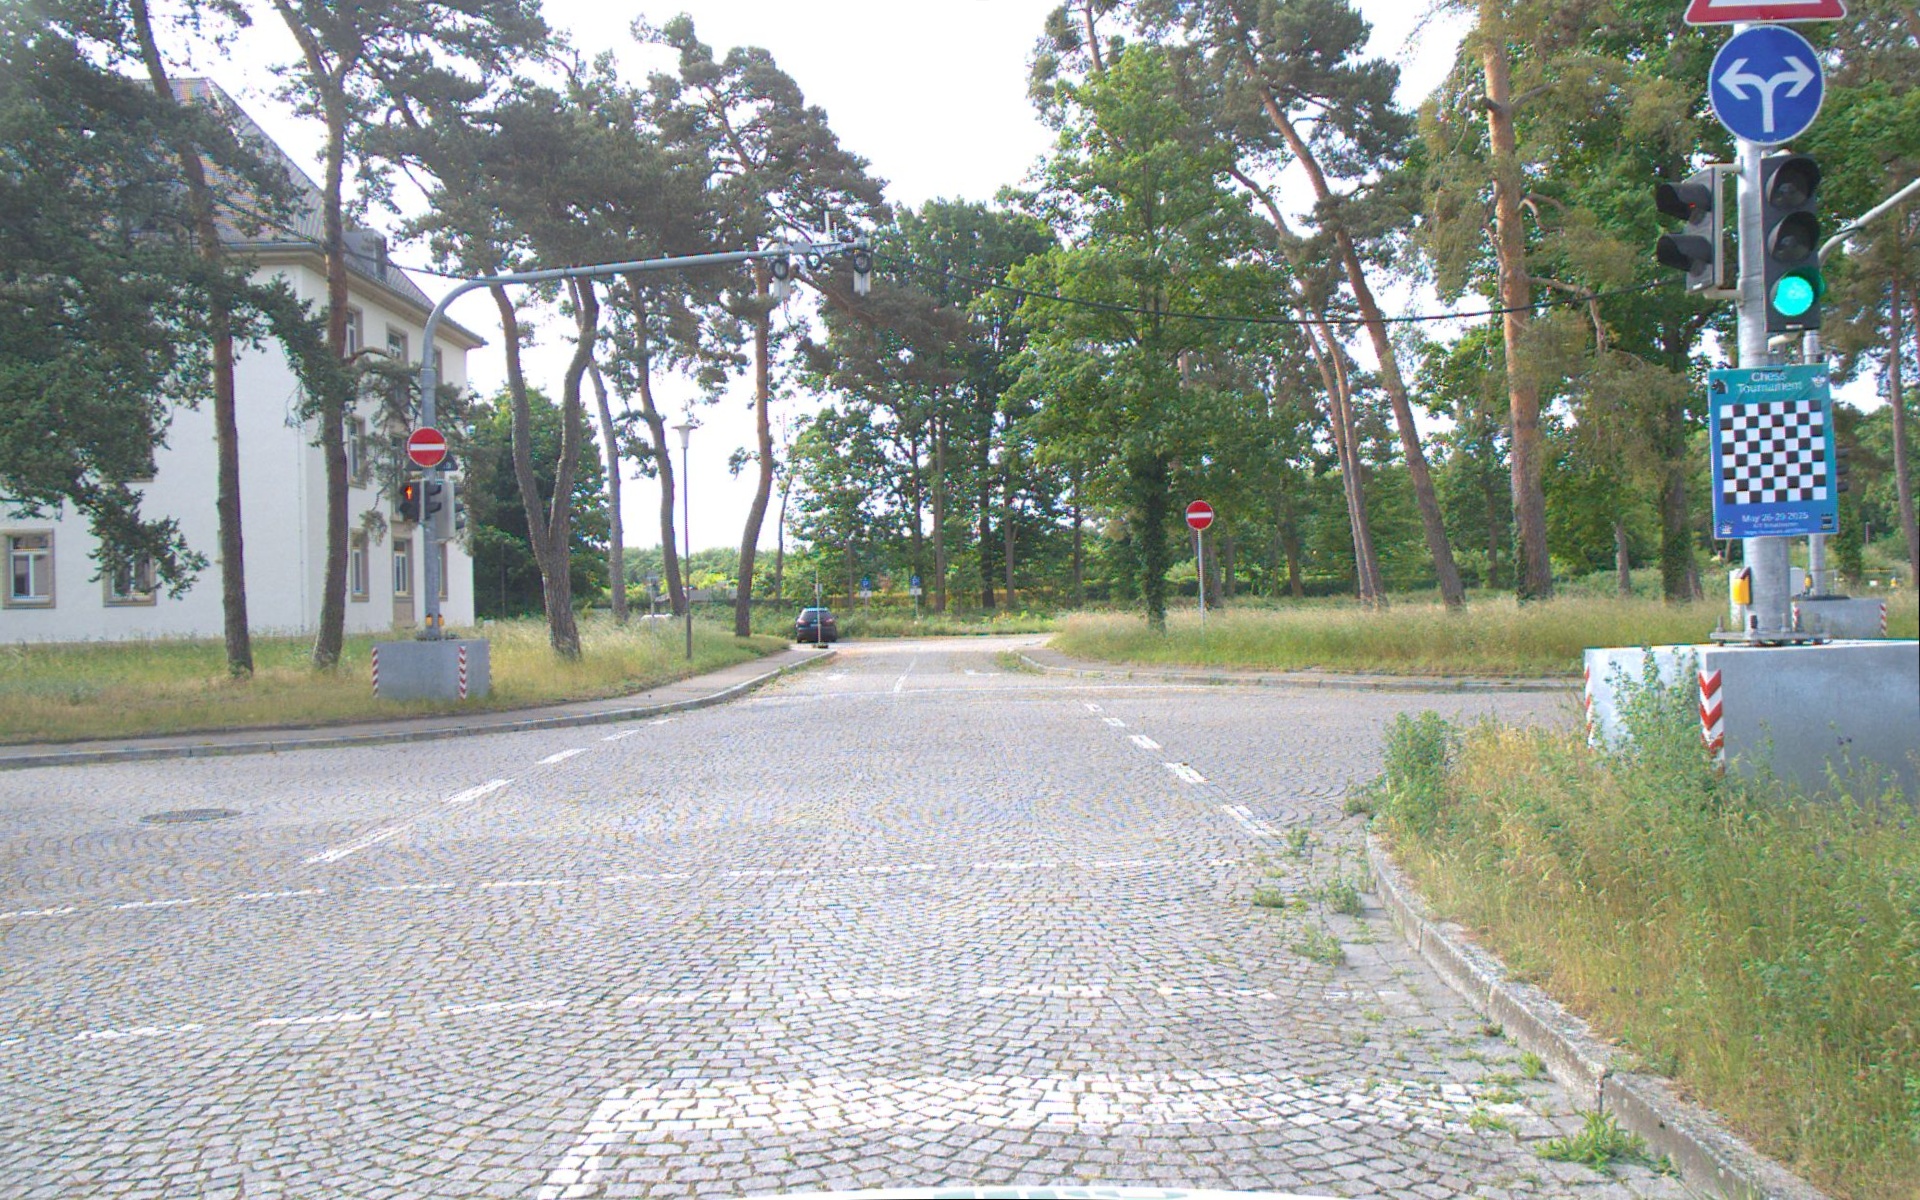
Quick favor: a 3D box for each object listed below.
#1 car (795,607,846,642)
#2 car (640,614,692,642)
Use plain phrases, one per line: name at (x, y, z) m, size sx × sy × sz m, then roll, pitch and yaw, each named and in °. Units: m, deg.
car at (-6.400, 1.121, 76.143) m, size 1.952 × 1.534 × 4.000 m, roll 0°, pitch 0°, yaw 0°
car at (-13.679, 1.302, 77.115) m, size 1.654 × 1.176 × 4.000 m, roll -2°, pitch 0°, yaw 0°
